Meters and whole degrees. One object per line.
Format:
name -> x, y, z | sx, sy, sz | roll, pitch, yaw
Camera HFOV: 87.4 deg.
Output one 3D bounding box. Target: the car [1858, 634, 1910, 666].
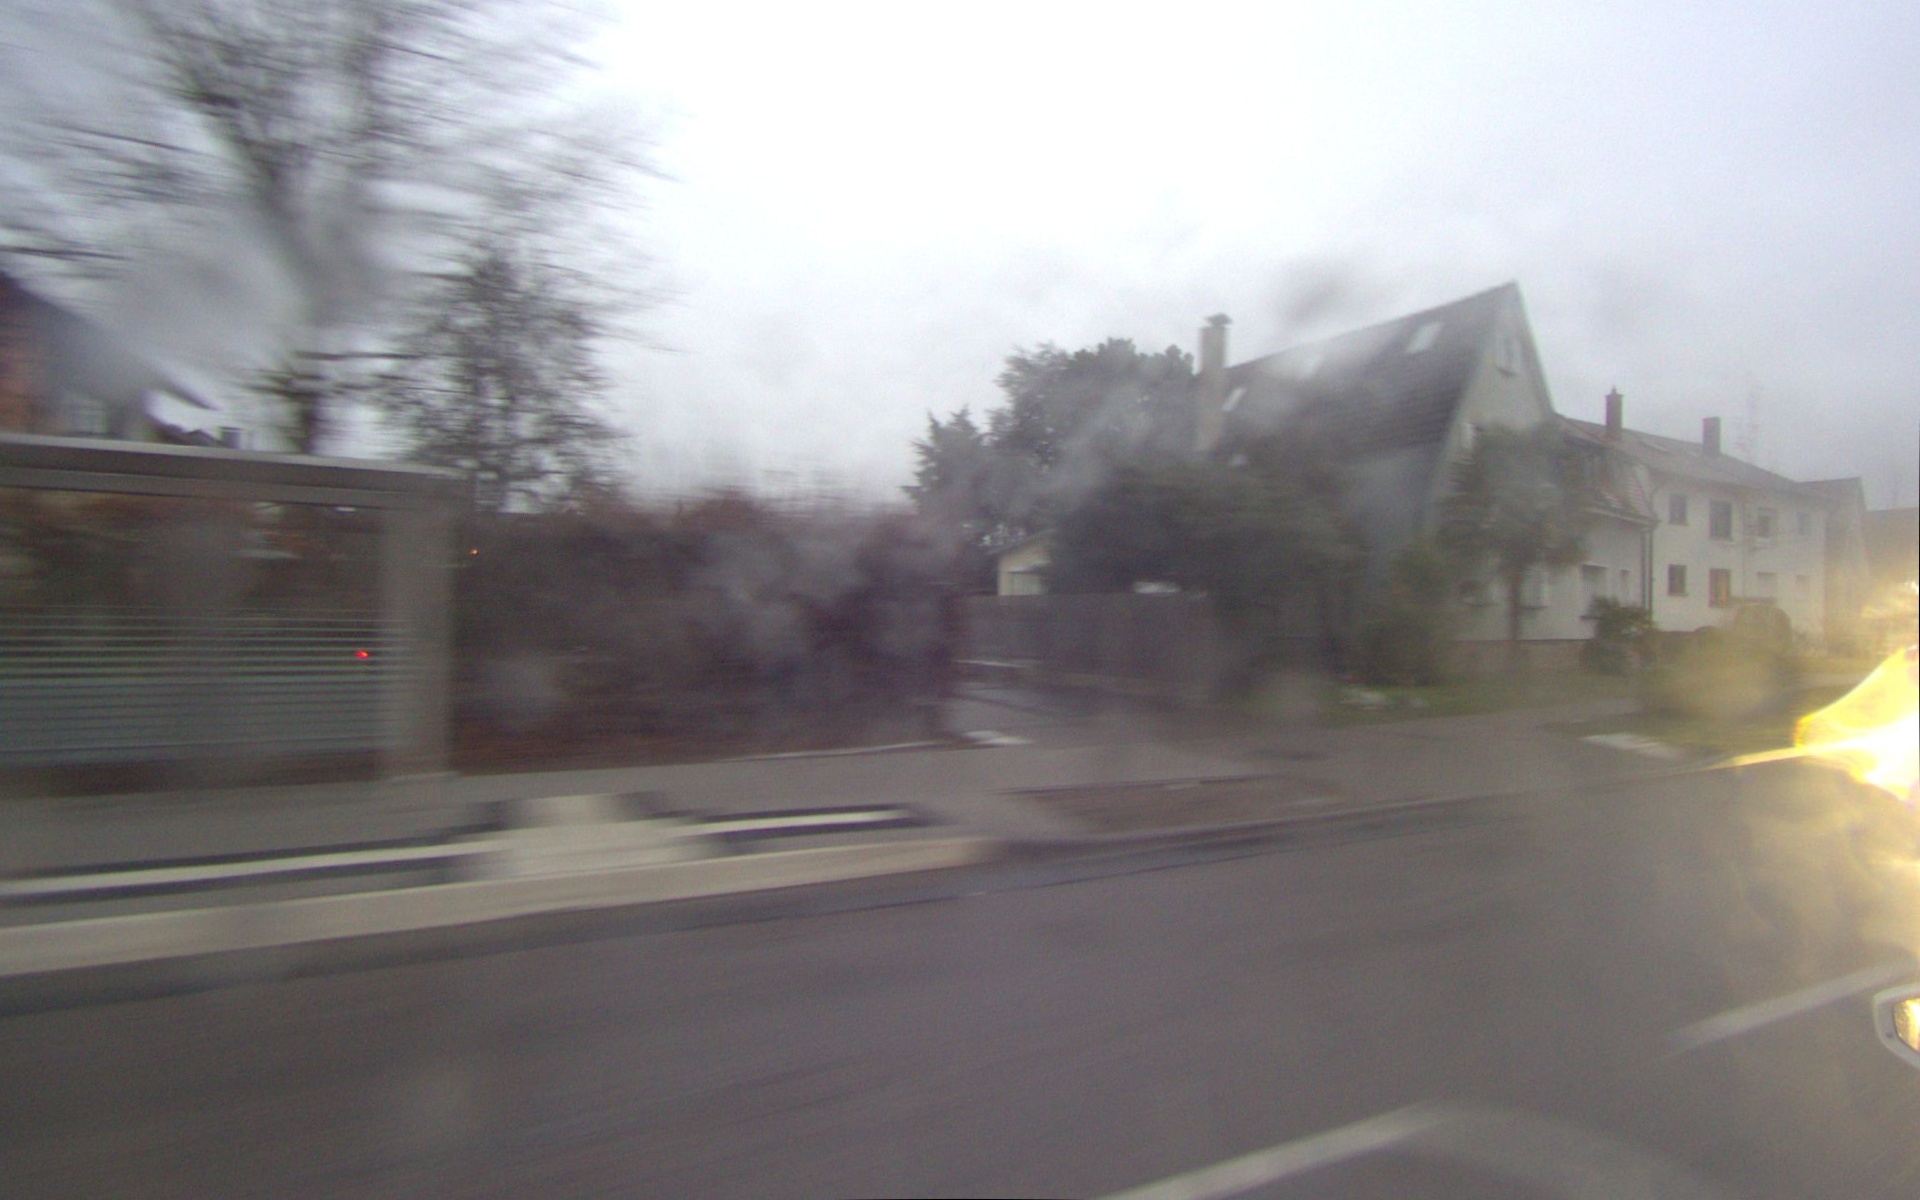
car -> 45.158, 2.444, 49.152 | 1.757, 1.411, 3.979 | 2, 0, 42
